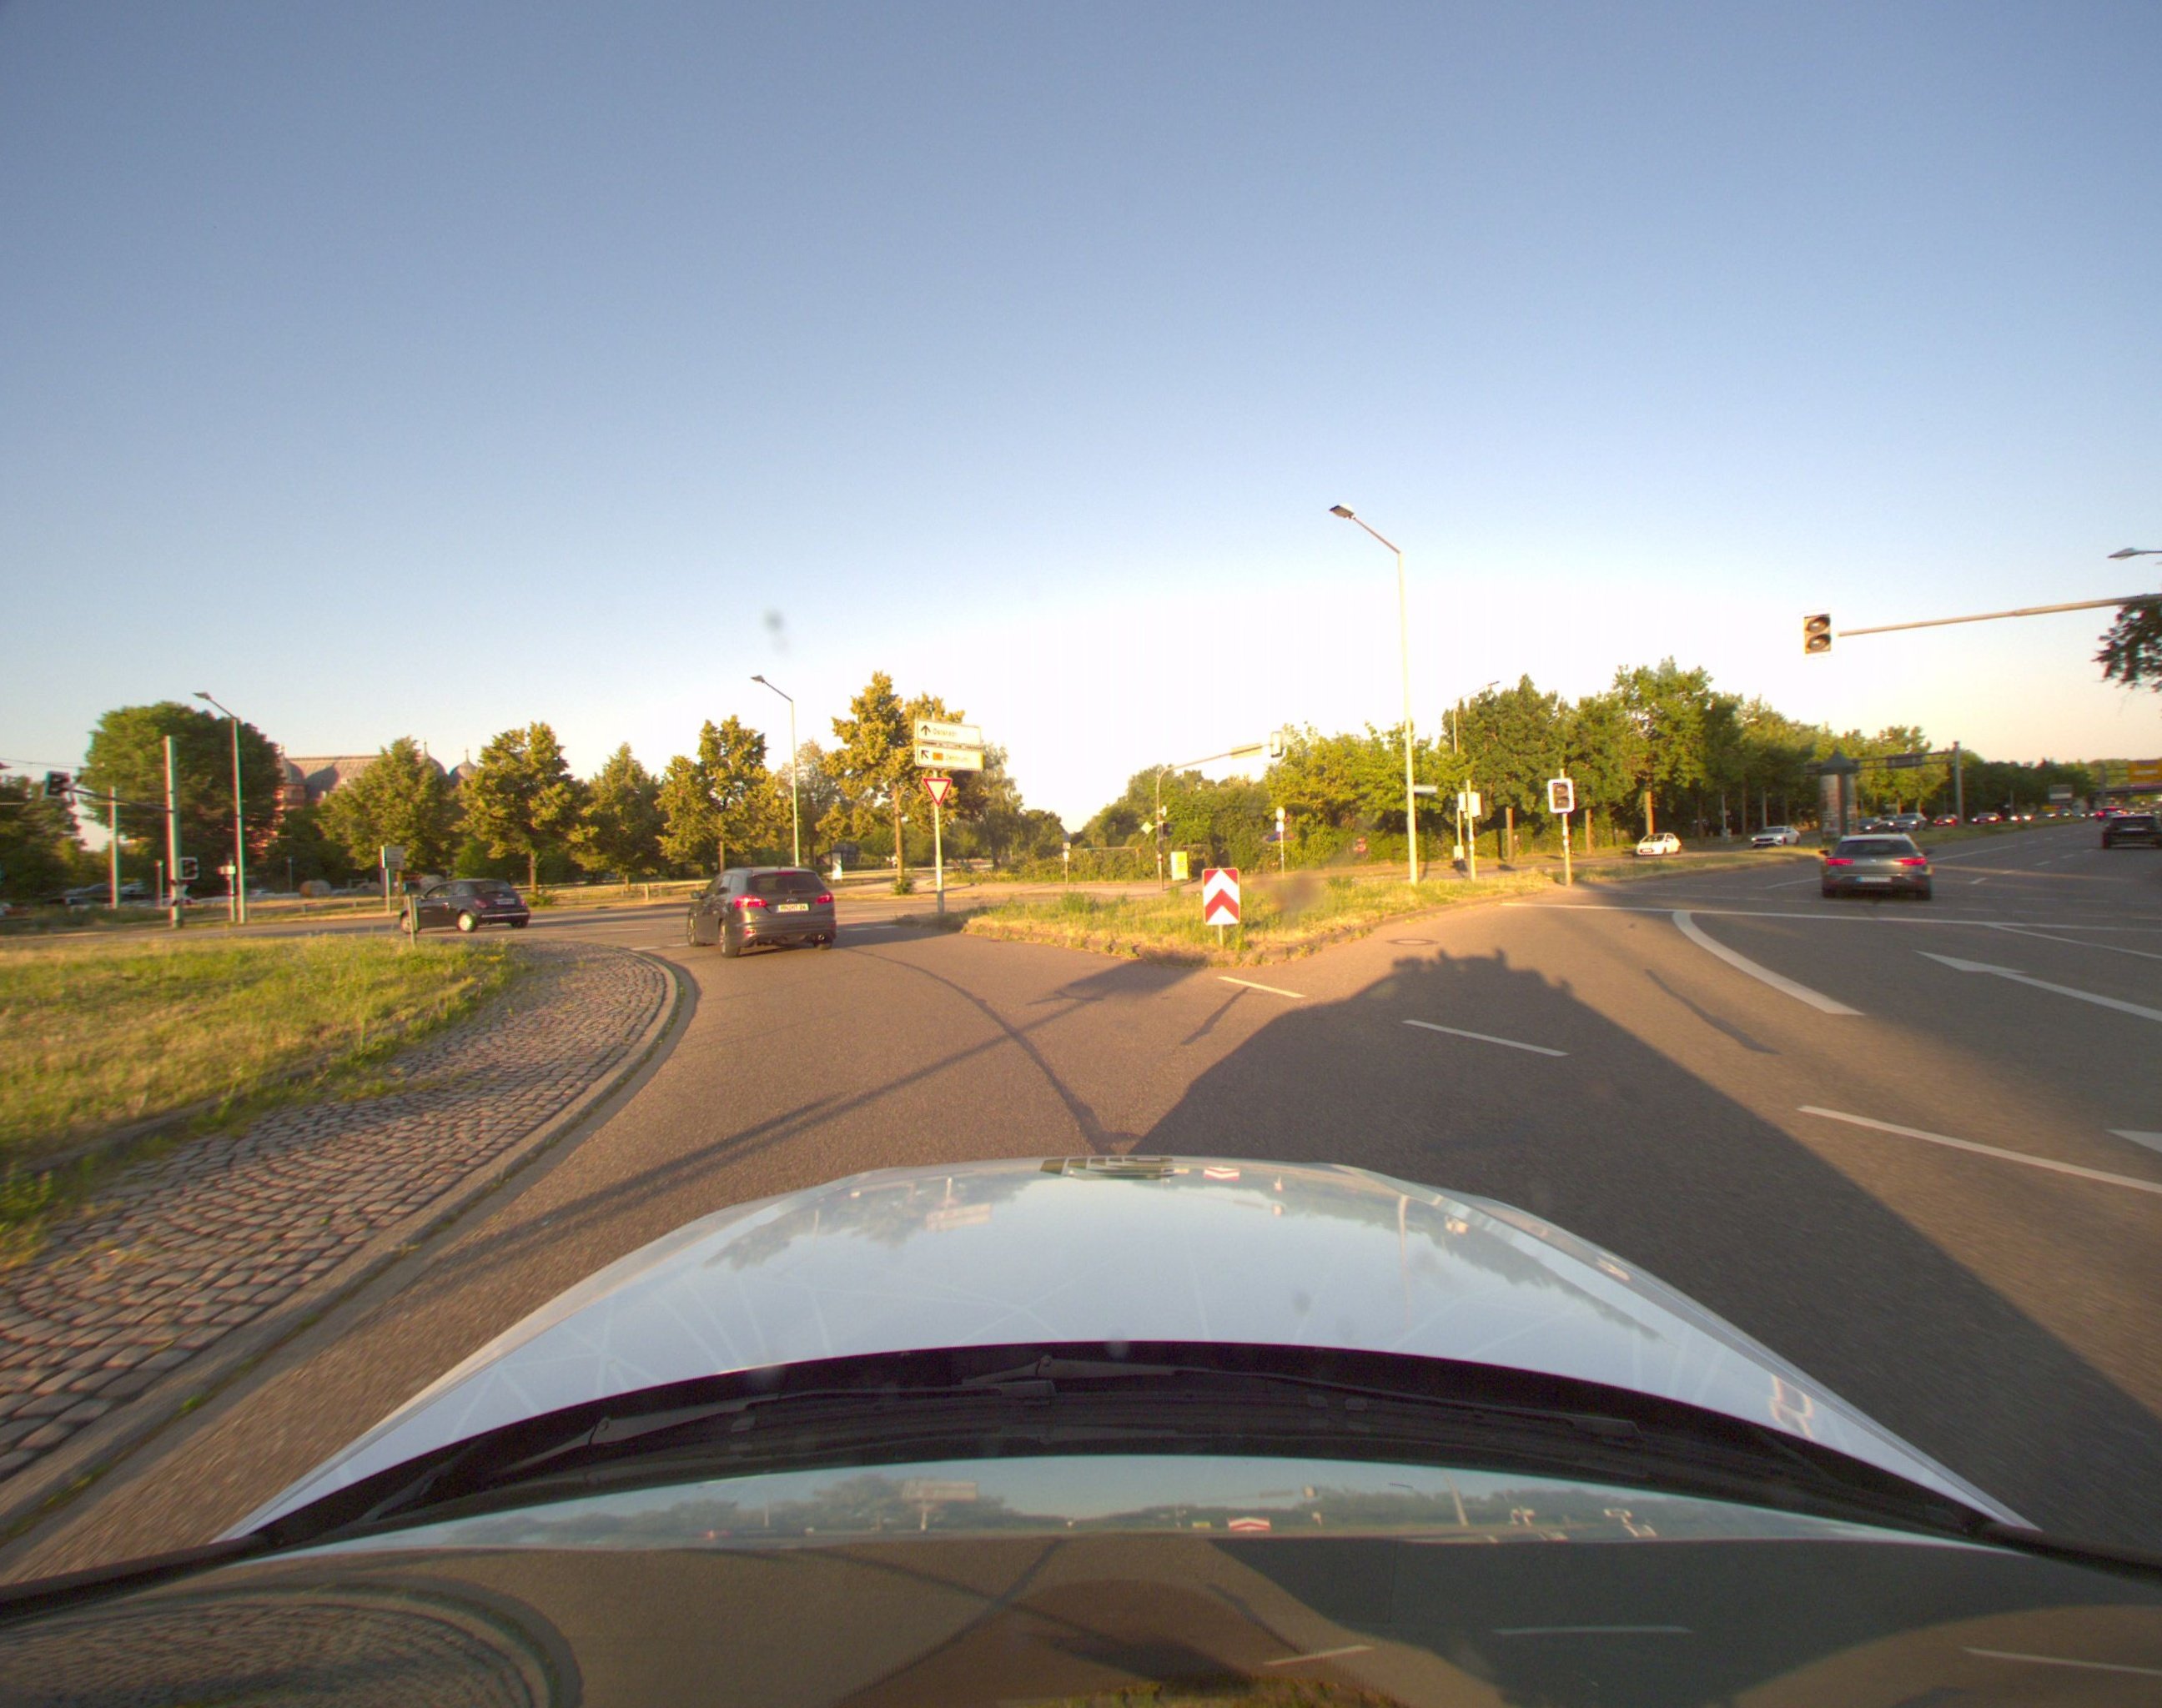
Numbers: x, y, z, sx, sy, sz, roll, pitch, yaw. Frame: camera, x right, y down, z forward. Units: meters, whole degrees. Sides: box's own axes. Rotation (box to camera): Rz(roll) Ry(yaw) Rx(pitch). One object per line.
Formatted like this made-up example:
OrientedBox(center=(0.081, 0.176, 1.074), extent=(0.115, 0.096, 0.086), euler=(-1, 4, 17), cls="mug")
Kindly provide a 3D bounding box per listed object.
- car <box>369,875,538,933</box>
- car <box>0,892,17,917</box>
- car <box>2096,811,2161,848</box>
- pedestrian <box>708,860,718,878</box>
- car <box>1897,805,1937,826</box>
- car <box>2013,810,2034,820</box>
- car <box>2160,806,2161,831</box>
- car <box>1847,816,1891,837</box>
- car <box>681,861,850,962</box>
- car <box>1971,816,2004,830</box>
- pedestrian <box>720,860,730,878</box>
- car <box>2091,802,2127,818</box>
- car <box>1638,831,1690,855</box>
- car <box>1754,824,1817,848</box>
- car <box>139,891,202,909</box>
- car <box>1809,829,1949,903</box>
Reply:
OrientedBox(center=(-17.856, 1.419, 23.204), extent=(4.088, 1.446, 1.760), euler=(-2, 1, 18), cls="car")
OrientedBox(center=(-93.038, 4.376, 68.512), extent=(3.981, 2.098, 1.996), euler=(-2, 0, -6), cls="car")
OrientedBox(center=(47.762, -1.138, 36.911), extent=(4.151, 1.525, 1.799), euler=(-3, 1, -33), cls="car")
OrientedBox(center=(-33.052, 1.364, 73.160), extent=(0.526, 1.626, 0.584), euler=(-2, 0, 41), cls="pedestrian")
OrientedBox(center=(79.468, -3.629, 77.409), extent=(4.943, 1.754, 1.901), euler=(-2, -1, -37), cls="car")
OrientedBox(center=(141.194, -5.893, 121.985), extent=(3.731, 1.309, 1.602), euler=(-2, -1, -34), cls="car")
OrientedBox(center=(66.176, -2.185, 48.672), extent=(4.150, 1.488, 1.733), euler=(-3, 1, -33), cls="car")
OrientedBox(center=(67.244, -2.341, 69.504), extent=(4.474, 1.633, 1.784), euler=(-2, -1, -35), cls="car")
OrientedBox(center=(-5.779, 0.907, 14.608), extent=(1.760, 1.466, 4.089), euler=(-3, 1, -37), cls="car")
OrientedBox(center=(106.655, -3.659, 95.833), extent=(4.598, 1.460, 1.827), euler=(-2, 0, -33), cls="car")
OrientedBox(center=(-31.749, 1.330, 72.624), extent=(0.523, 1.626, 0.624), euler=(-2, 0, 33), cls="pedestrian")
OrientedBox(center=(98.634, -4.222, 78.144), extent=(4.018, 1.470, 1.978), euler=(-3, 1, -36), cls="car")
OrientedBox(center=(38.664, -0.760, 53.963), extent=(3.499, 1.443, 1.538), euler=(-2, -1, -32), cls="car")
OrientedBox(center=(48.960, -1.258, 56.565), extent=(4.560, 1.449, 1.712), euler=(-3, 0, -27), cls="car")
OrientedBox(center=(-94.012, 4.770, 84.112), extent=(3.983, 1.551, 1.996), euler=(-2, 0, -7), cls="car")
OrientedBox(center=(17.971, 0.212, 18.528), extent=(1.729, 1.424, 4.162), euler=(-2, 1, 37), cls="car")
